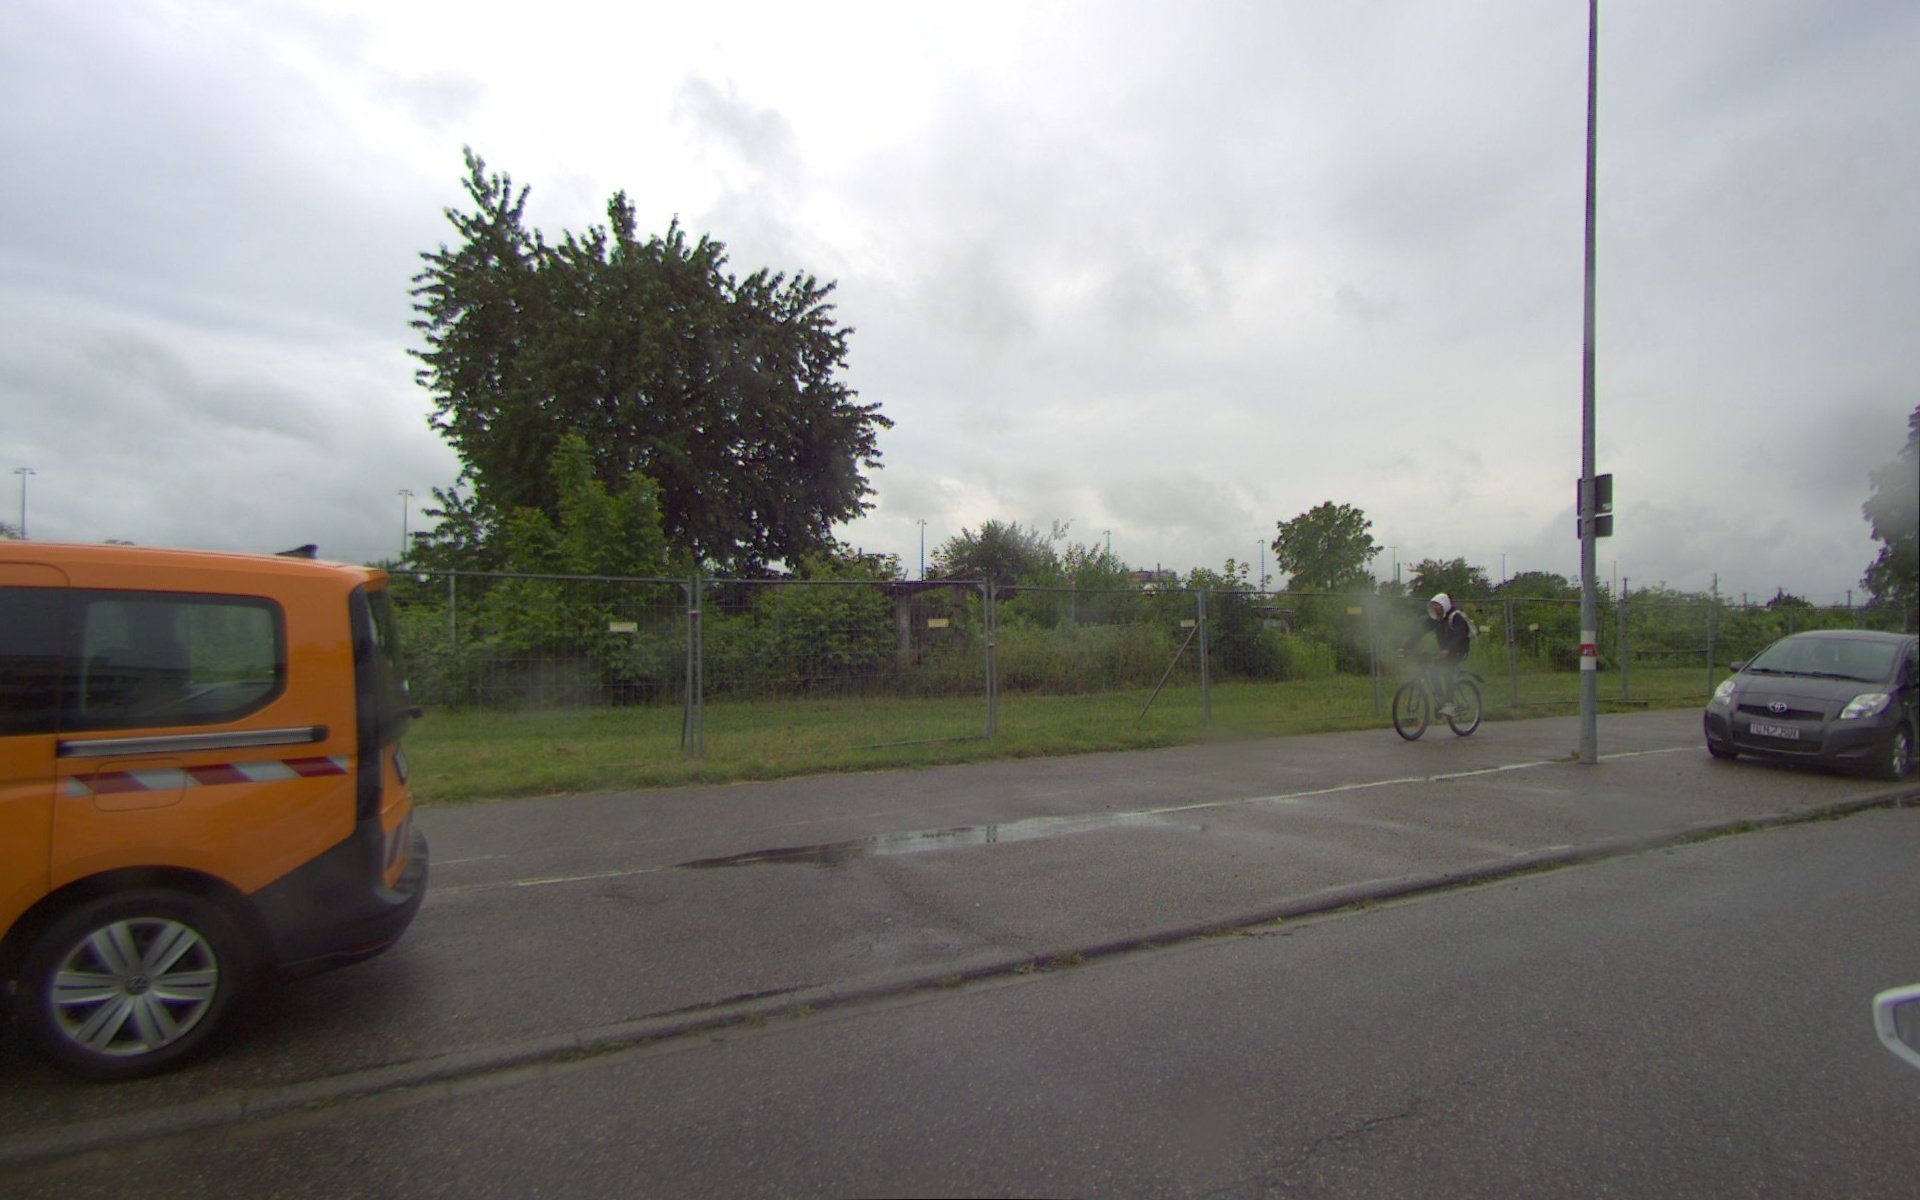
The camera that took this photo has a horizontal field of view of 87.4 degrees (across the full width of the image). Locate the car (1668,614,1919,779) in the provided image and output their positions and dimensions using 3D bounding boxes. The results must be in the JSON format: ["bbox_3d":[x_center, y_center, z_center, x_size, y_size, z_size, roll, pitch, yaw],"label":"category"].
[{"bbox_3d":[10.243,0.991,11.677,3.985,1.582,1.795,1,0,-30],"label":"car"}]

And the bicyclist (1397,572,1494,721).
[{"bbox_3d":[6.312,0.584,13.067,0.996,1.854,0.695,1,-1,-30],"label":"bicyclist"}]

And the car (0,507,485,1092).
[{"bbox_3d":[-4.100,0.614,3.548,4.278,1.790,1.932,1,-2,-29],"label":"car"}]

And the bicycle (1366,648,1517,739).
[{"bbox_3d":[6.269,1.181,13.045,2.119,1.056,0.713,1,-1,-30],"label":"bicycle"}]
